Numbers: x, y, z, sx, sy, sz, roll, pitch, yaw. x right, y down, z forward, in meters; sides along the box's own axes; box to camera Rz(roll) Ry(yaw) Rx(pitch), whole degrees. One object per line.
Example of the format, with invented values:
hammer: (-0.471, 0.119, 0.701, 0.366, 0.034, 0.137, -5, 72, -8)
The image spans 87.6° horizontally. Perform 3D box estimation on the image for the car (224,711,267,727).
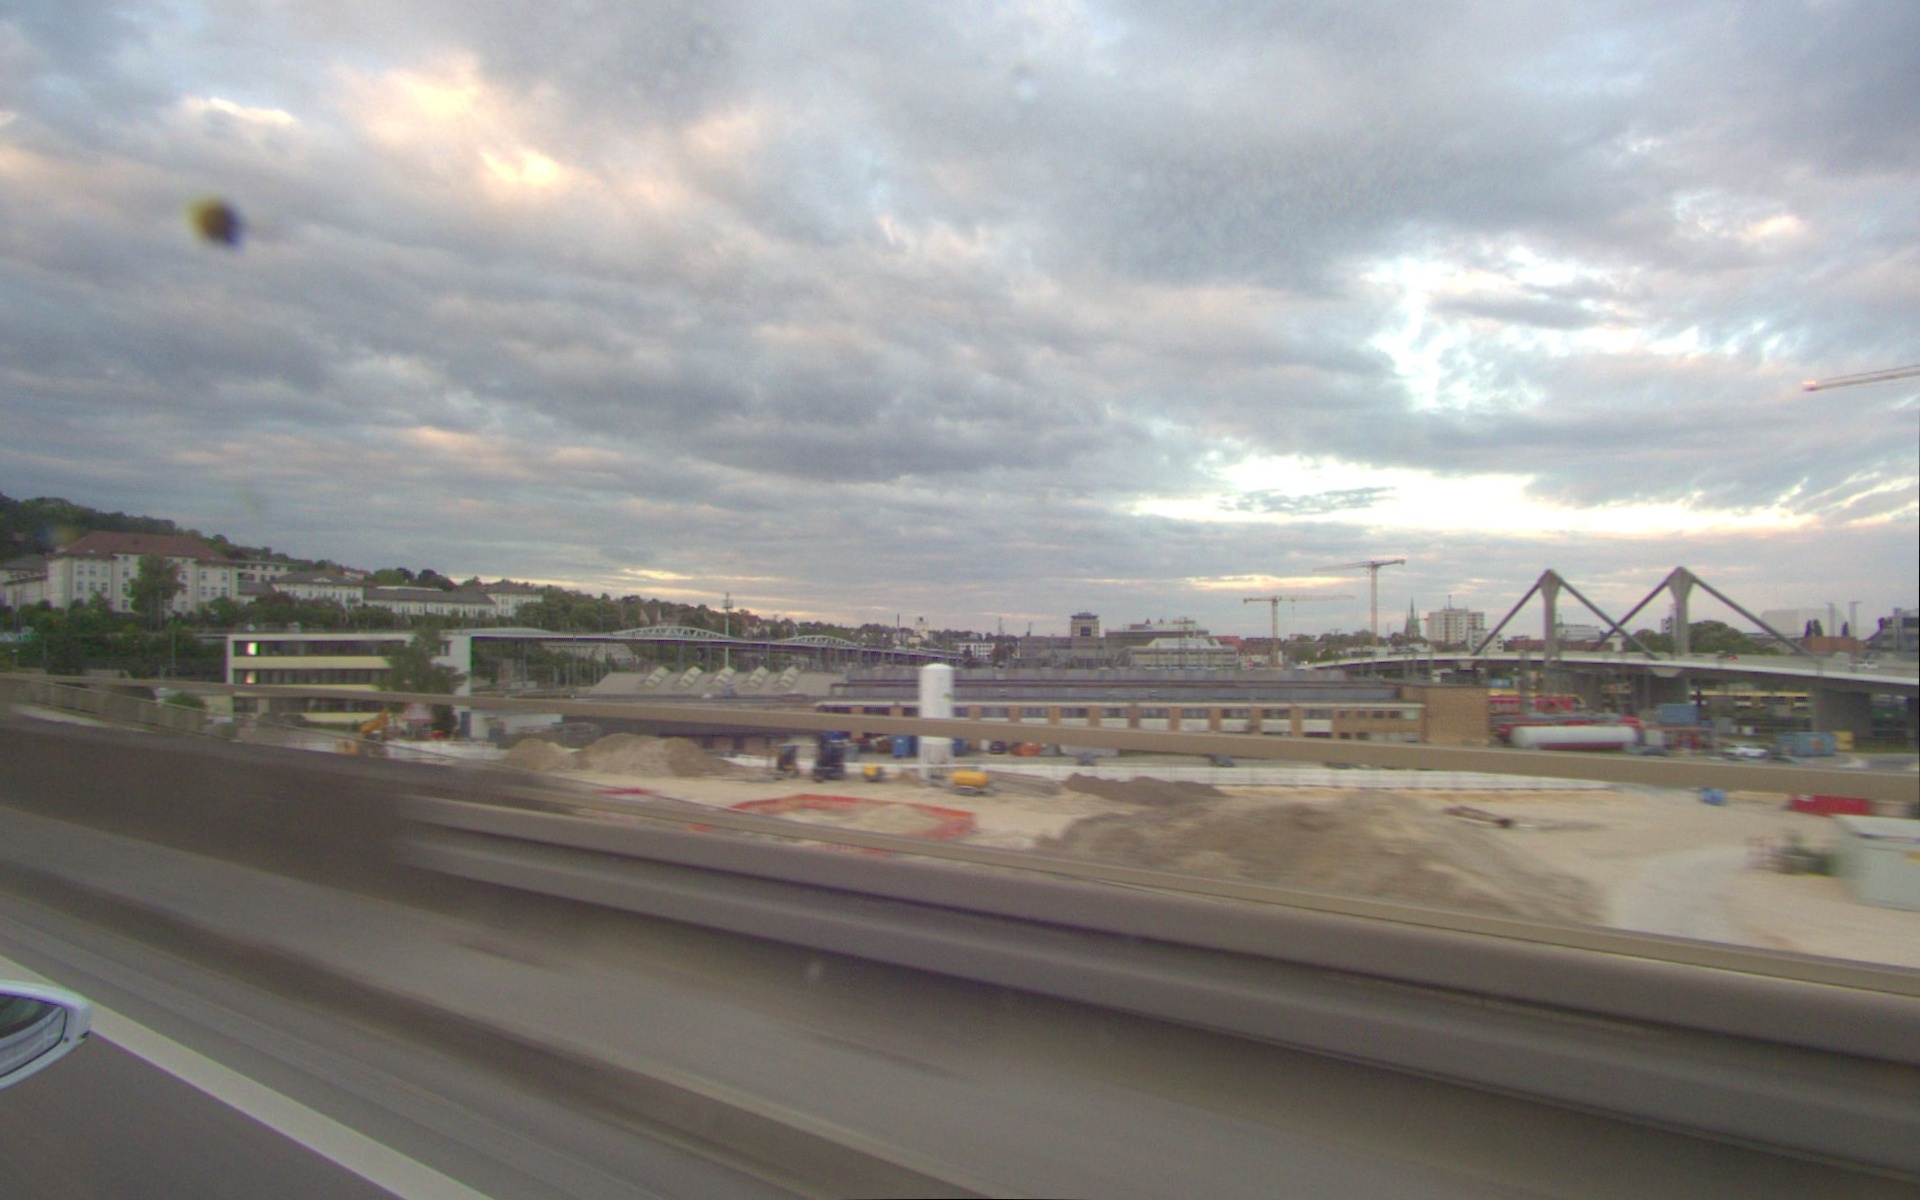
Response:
car: (-79.271, 13.192, 111.138, 1.796, 1.583, 4.006, 4, -6, -2)

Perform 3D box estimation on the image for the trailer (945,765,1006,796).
trailer: (1.110, 12.929, 71.839, 3.781, 1.823, 1.999, 0, -7, 25)

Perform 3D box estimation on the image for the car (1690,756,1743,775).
car: (76.947, 16.799, 101.960, 1.835, 1.539, 4.349, 0, -4, -4)

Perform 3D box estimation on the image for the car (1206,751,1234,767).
car: (27.097, 16.596, 104.401, 1.835, 1.435, 4.010, 4, -7, 0)

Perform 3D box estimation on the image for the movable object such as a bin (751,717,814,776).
movable object such as a bin: (-14.131, 11.750, 80.225, 2.734, 4.356, 4.963, 1, -7, 17)

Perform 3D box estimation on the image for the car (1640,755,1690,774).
car: (71.968, 16.831, 102.344, 1.835, 1.539, 4.349, 0, -4, -4)

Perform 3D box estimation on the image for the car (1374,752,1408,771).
car: (44.531, 16.676, 103.572, 1.835, 1.733, 4.010, 4, -7, 0)

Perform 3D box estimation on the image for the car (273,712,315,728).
car: (-72.827, 13.111, 109.564, 1.796, 1.583, 4.006, 4, -6, -2)

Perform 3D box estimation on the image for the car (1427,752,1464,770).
car: (49.821, 16.515, 102.866, 1.835, 1.669, 4.010, 4, -7, 0)

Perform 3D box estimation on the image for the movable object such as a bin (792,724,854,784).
movable object such as a bin: (-10.775, 12.107, 79.037, 2.734, 4.356, 4.963, 2, -7, 17)

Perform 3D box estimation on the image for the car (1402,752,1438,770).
car: (47.233, 16.527, 102.937, 1.835, 1.669, 4.010, 4, -7, 0)

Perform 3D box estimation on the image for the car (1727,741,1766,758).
car: (91.135, 17.326, 116.001, 3.617, 1.593, 1.441, 5, -7, -9)

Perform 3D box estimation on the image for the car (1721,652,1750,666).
car: (138.519, 10.494, 178.902, 1.961, 2.041, 3.997, 1, 2, -3)

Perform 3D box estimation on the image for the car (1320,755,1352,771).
car: (38.903, 16.870, 103.671, 1.835, 1.435, 4.010, 4, -7, 0)

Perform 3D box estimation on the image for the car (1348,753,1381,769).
car: (41.805, 16.628, 103.565, 1.835, 1.435, 4.010, 4, -7, 0)

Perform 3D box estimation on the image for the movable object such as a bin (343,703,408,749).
movable object such as a bin: (-59.547, 12.854, 102.047, 4.869, 4.356, 2.786, 1, -7, 20)

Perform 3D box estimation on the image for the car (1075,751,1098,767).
car: (13.270, 16.690, 105.327, 1.835, 1.435, 4.010, 4, -7, 0)
